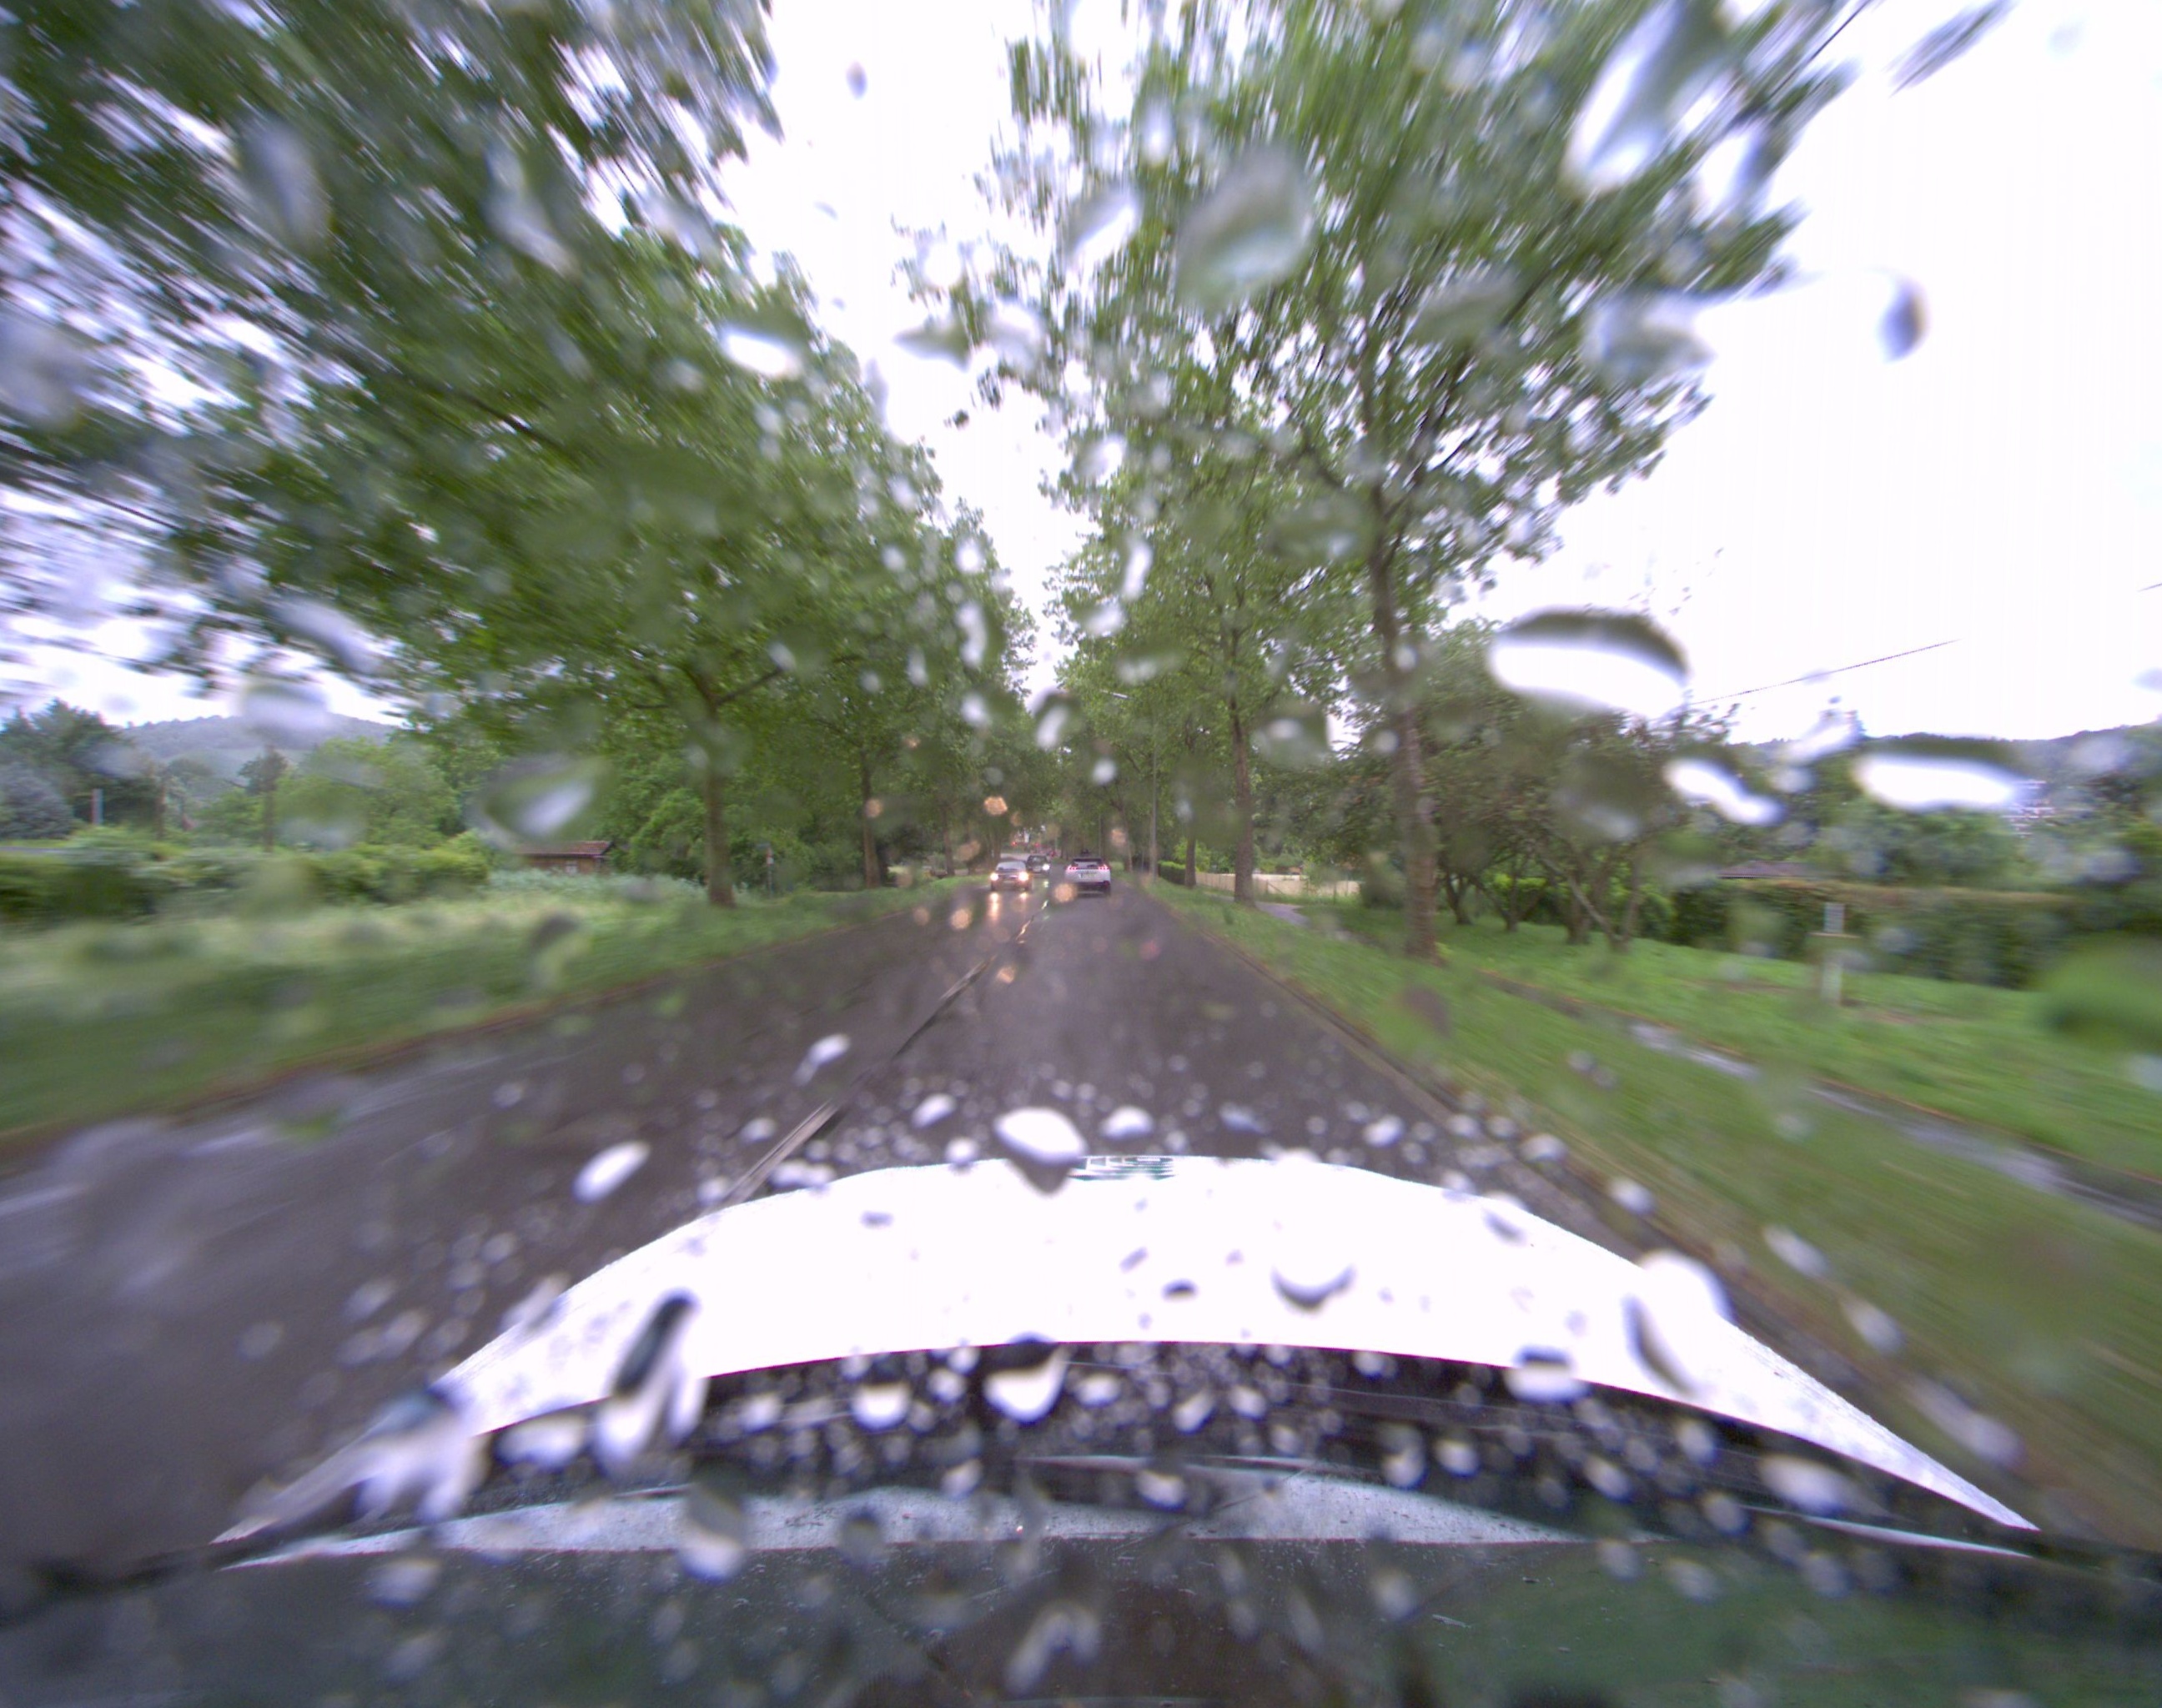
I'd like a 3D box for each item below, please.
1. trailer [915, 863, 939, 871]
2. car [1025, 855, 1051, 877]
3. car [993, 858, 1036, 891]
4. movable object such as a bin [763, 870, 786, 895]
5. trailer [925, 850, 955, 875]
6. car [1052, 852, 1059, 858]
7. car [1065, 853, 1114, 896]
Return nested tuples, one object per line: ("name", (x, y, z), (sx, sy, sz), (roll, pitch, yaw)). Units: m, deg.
("trailer", (-23.418, 1.994, 123.741), (3.553, 1.178, 1.817), (-1, 0, -10))
("car", (-3.209, 0.882, 61.134), (1.726, 1.588, 4.310), (0, 0, 0))
("car", (-3.118, 0.921, 38.722), (1.726, 1.423, 4.223), (-1, 0, -1))
("movable object such as a bin", (-17.471, 1.629, 46.455), (0.960, 1.422, 0.965), (0, 0, -3))
("trailer", (-15.171, 0.861, 87.882), (2.478, 2.567, 5.328), (0, 0, -2))
("car", (-6.776, 0.299, 215.196), (1.821, 1.596, 3.653), (0, 0, 0))
("car", (0.321, 0.753, 32.166), (1.788, 1.578, 3.844), (0, 0, 0))
